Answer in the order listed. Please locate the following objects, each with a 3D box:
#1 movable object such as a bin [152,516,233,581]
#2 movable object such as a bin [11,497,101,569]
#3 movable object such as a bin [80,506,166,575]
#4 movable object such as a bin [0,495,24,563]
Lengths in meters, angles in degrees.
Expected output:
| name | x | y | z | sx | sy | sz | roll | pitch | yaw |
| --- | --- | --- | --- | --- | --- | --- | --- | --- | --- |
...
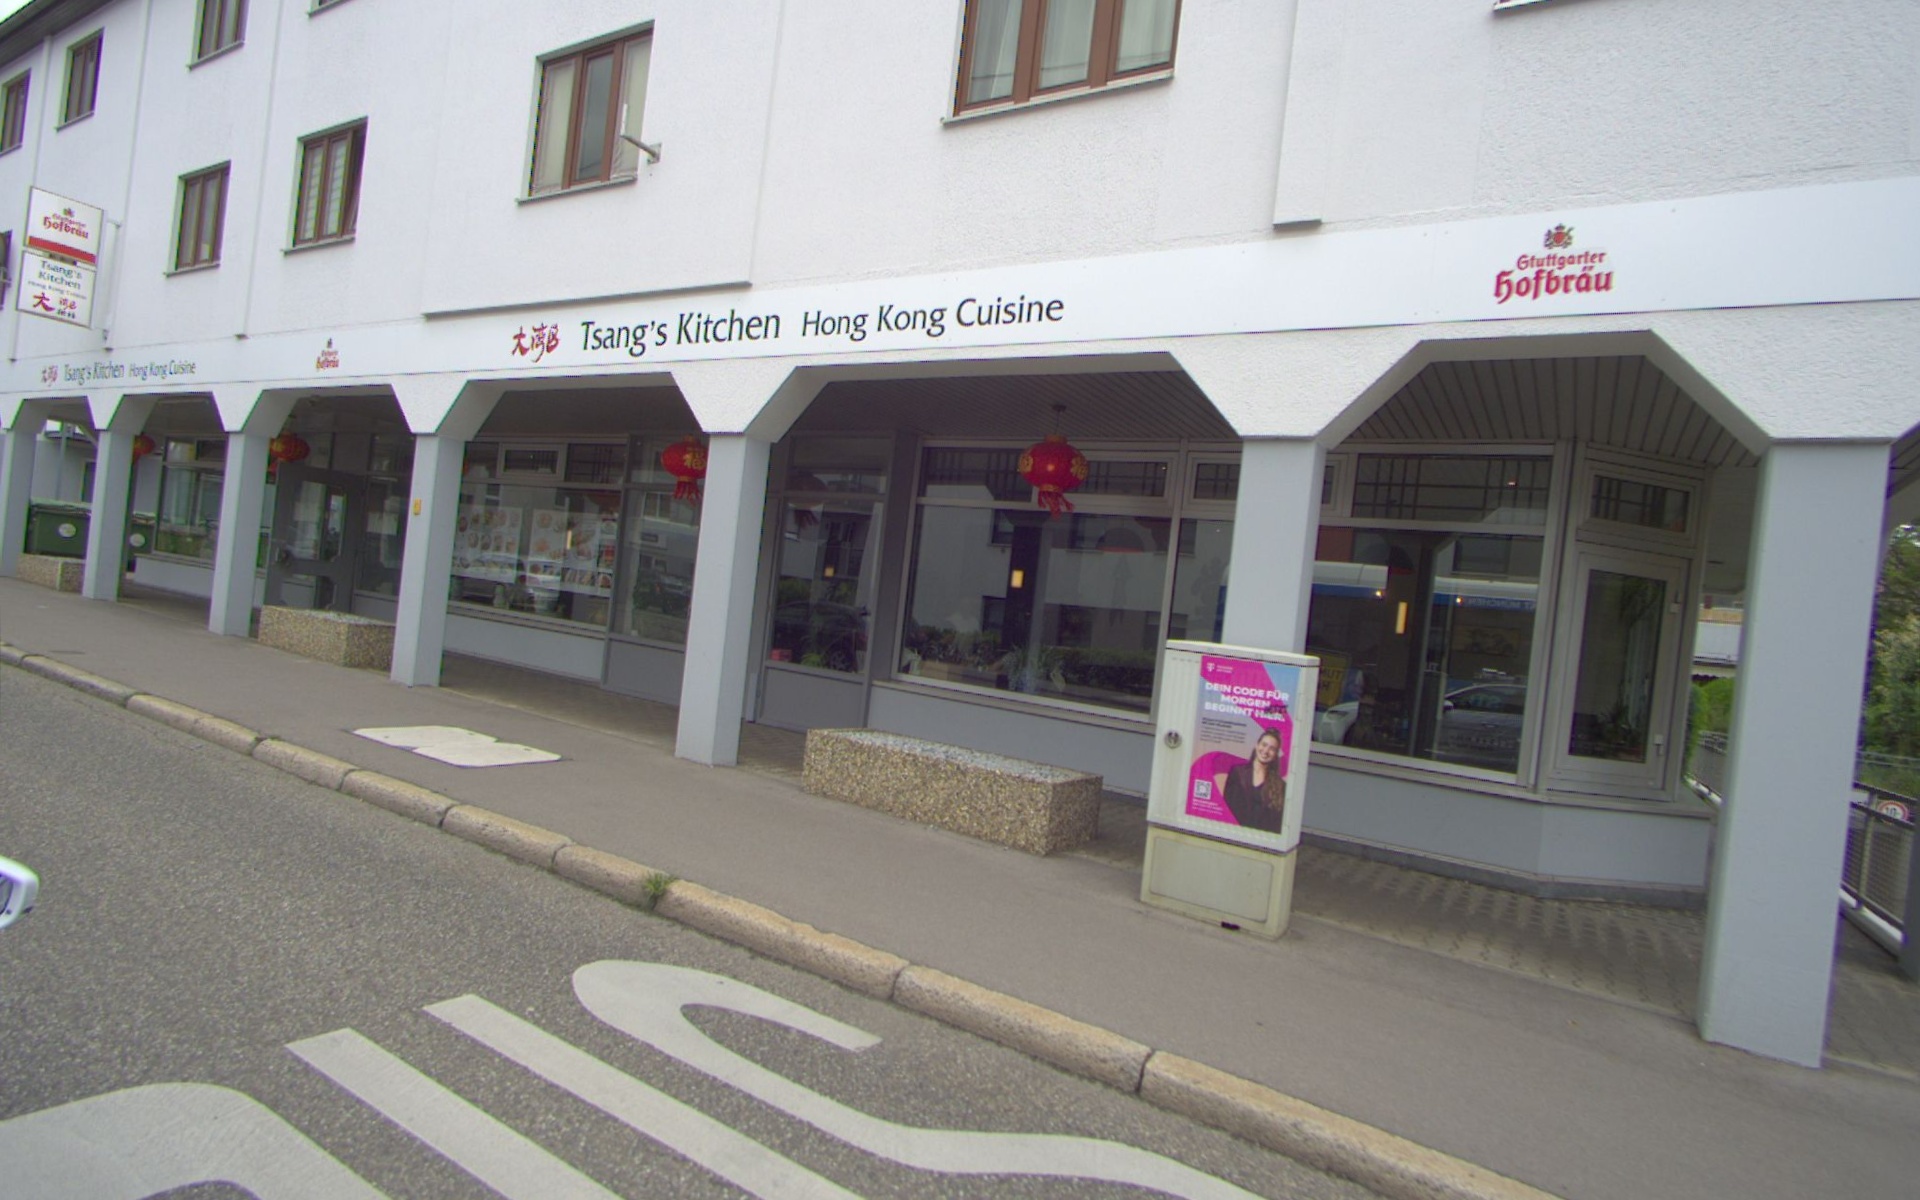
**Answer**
| name | x | y | z | sx | sy | sz | roll | pitch | yaw |
| --- | --- | --- | --- | --- | --- | --- | --- | --- | --- |
| movable object such as a bin | -19.385 | -1.297 | 25.404 | 1.239 | 1.434 | 1.210 | 7 | 0 | 35 |
| movable object such as a bin | -20.846 | -1.534 | 23.198 | 1.239 | 1.434 | 1.210 | 7 | 0 | 35 |
| movable object such as a bin | -20.175 | -1.426 | 24.258 | 1.239 | 1.434 | 1.210 | 7 | 0 | 35 |
| movable object such as a bin | -21.560 | -1.647 | 22.039 | 1.239 | 1.434 | 1.210 | 7 | 0 | 35 |
